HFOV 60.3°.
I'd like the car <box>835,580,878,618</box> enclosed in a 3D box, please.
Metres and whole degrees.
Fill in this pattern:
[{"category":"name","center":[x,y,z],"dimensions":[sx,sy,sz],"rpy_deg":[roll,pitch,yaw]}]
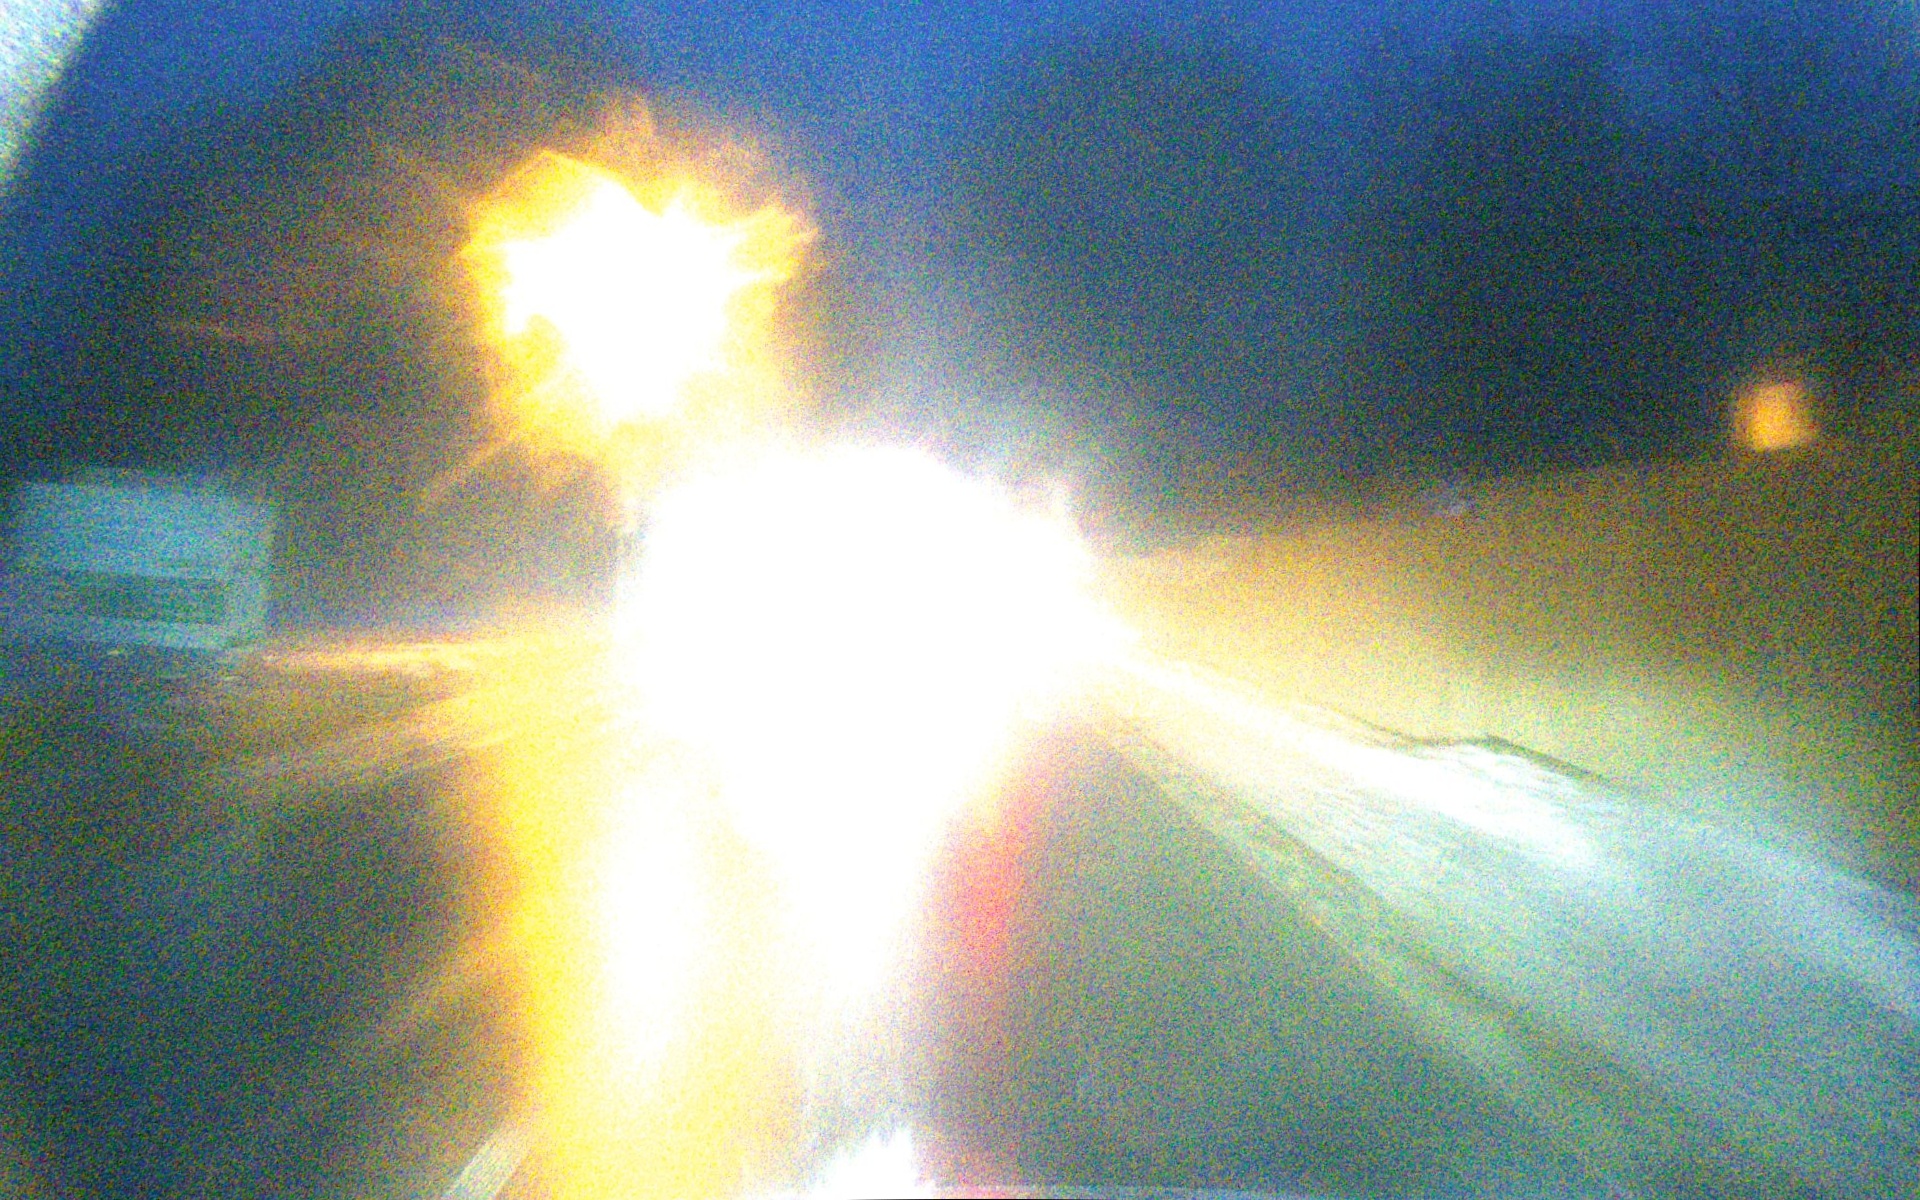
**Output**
[{"category":"car","center":[-4.406,-0.036,70.779],"dimensions":[1.697,1.545,4.014],"rpy_deg":[1,0,-2]}]

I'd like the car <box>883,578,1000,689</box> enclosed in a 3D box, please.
[{"category":"car","center":[-0.309,0.541,27.816],"dimensions":[1.765,1.657,3.614],"rpy_deg":[3,0,-1]}]
